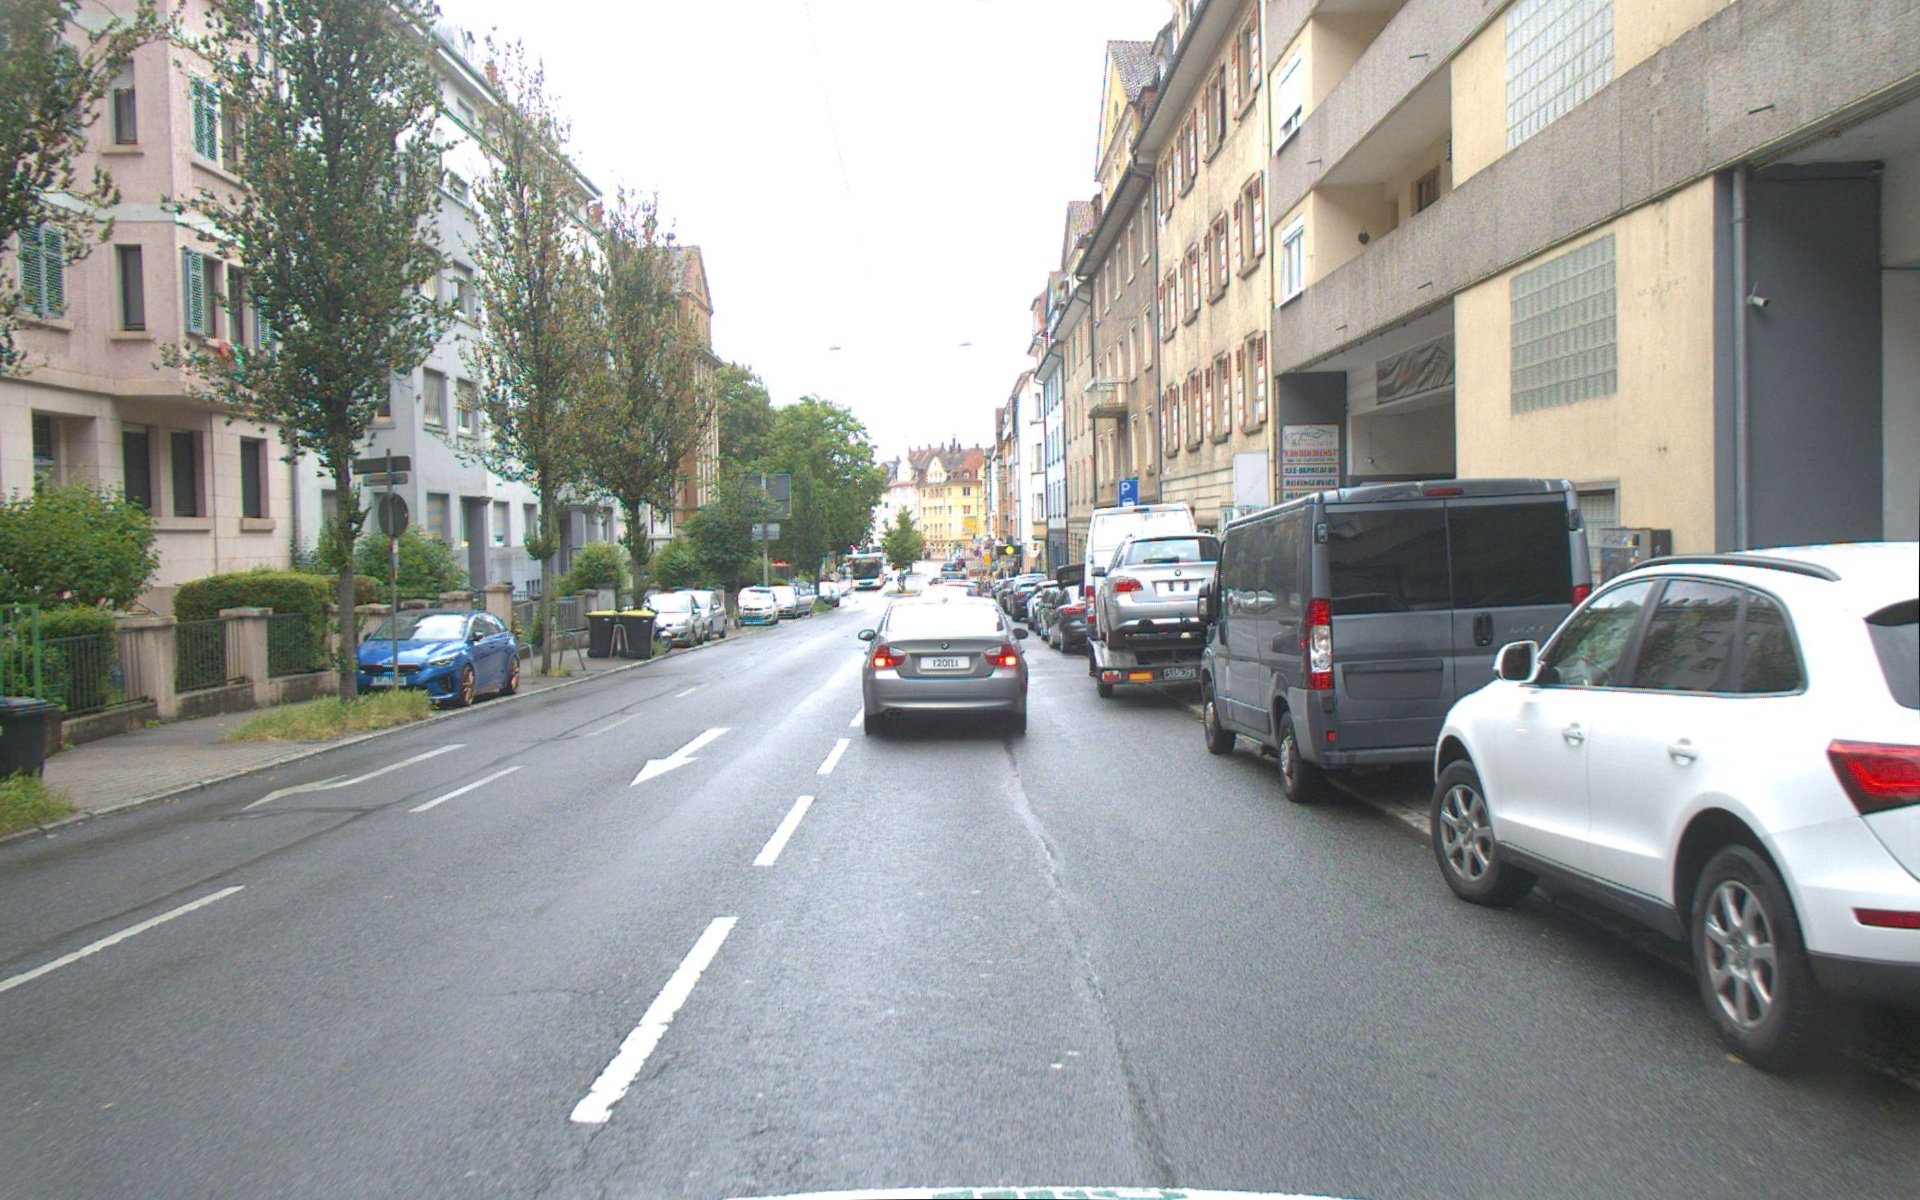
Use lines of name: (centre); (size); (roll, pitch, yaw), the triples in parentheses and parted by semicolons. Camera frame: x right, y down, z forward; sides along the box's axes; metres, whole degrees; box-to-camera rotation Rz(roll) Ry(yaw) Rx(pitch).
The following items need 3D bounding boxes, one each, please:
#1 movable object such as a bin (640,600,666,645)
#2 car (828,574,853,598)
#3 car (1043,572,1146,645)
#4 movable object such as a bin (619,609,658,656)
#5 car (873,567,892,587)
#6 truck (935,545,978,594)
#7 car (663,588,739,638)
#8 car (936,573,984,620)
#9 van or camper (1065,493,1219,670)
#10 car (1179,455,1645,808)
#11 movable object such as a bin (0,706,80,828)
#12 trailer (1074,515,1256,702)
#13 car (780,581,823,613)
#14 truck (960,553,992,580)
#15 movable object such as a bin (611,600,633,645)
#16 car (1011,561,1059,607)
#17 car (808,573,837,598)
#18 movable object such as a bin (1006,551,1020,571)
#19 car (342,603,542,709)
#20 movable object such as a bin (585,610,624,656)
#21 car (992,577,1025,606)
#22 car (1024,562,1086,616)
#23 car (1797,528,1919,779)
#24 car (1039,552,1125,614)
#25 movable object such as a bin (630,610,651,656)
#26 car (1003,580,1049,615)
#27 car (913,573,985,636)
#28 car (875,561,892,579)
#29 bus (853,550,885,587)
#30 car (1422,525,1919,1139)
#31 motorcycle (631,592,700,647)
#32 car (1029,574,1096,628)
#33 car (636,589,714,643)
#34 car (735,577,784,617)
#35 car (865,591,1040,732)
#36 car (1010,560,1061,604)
movable object such as a bin: (-7.465, 0.555, 40.285); (0.513, 1.076, 0.483); (1, 0, 0)
car: (-7.794, -0.903, 107.667); (1.600, 1.479, 3.836); (-1, 1, -4)
car: (3.005, 0.168, 37.800); (1.742, 1.505, 4.187); (-2, 0, -3)
movable object such as a bin: (-7.548, 0.766, 38.833); (0.808, 1.076, 0.483); (1, 0, 0)
car: (-8.456, -2.533, 181.539); (1.953, 2.049, 3.999); (2, 0, -2)
truck: (-0.234, -1.626, 90.121); (2.172, 2.588, 4.778); (1, 0, -2)
car: (-8.105, 0.381, 52.025); (1.567, 1.476, 3.889); (-1, 0, 3)
car: (0.025, -0.108, 52.148); (1.406, 1.380, 3.762); (1, 0, 1)
van or camper: (3.133, -0.367, 29.789); (2.139, 2.746, 6.422); (-2, 1, 2)
car: (3.296, 0.163, 13.459); (2.110, 2.186, 5.509); (-3, 1, -1)
movable object such as a bin: (-7.293, 1.309, 13.085); (0.356, 0.905, 0.572); (0, 0, -1)
trailer: (2.708, 0.011, 22.976); (1.952, 2.189, 5.074); (-4, 2, 2)
car: (-7.401, -0.166, 77.432); (1.648, 1.414, 3.909); (-1, 1, 0)
truck: (1.350, -2.883, 143.119); (2.173, 2.153, 4.647); (2, 1, -6)
movable object such as a bin: (-8.236, 0.552, 40.317); (0.462, 1.076, 0.482); (1, 0, -10)
car: (3.217, -0.720, 71.792); (1.754, 1.849, 4.079); (-3, 1, -1)
car: (-8.514, -0.912, 102.588); (1.620, 1.479, 3.941); (-2, 1, -2)
movable object such as a bin: (4.801, -3.539, 150.282); (1.100, 1.732, 1.433); (-2, 0, -3)
car: (-7.860, 0.791, 25.544); (1.645, 1.410, 4.602); (-2, 0, -1)
movable object such as a bin: (-8.450, 0.784, 39.336); (0.808, 1.076, 0.483); (0, 0, 0)
car: (2.625, -0.476, 90.645); (1.551, 1.454, 3.595); (-4, 1, -1)
car: (3.043, -0.374, 53.802); (1.599, 1.667, 4.193); (1, 1, -2)
car: (8.384, 0.256, 11.807); (4.160, 1.684, 1.791); (-3, 1, -16)
car: (3.158, -0.437, 43.592); (1.742, 1.505, 4.586); (-2, 0, -2)
movable object such as a bin: (-7.629, 0.793, 39.518); (0.462, 1.076, 0.482); (1, 0, -10)
car: (3.107, -0.141, 78.272); (1.804, 1.433, 4.387); (-4, 1, -2)
car: (-0.301, 0.094, 40.074); (1.570, 1.445, 3.286); (1, 0, -3)
car: (-8.885, -3.477, 192.432); (1.953, 2.049, 3.999); (1, 0, -2)
bus: (-8.511, -2.944, 156.429); (2.627, 3.256, 11.952); (1, 0, -2)
car: (3.377, 0.563, 6.658); (1.711, 1.668, 4.272); (-3, 1, -1)
motorcycle: (-7.464, 0.507, 41.886); (1.778, 1.337, 0.738); (-1, 1, 41)
car: (2.993, 0.005, 49.060); (1.599, 1.504, 3.733); (1, 1, -2)
car: (-8.012, 0.427, 46.763); (1.568, 1.421, 3.886); (-1, 0, -1)
car: (-8.112, -0.125, 67.198); (1.613, 1.534, 3.795); (-1, 0, -2)
car: (-0.093, 0.598, 17.835); (1.720, 1.386, 3.164); (0, 0, -1)
car: (2.939, -0.735, 65.309); (1.754, 1.575, 4.226); (-3, 1, 0)
